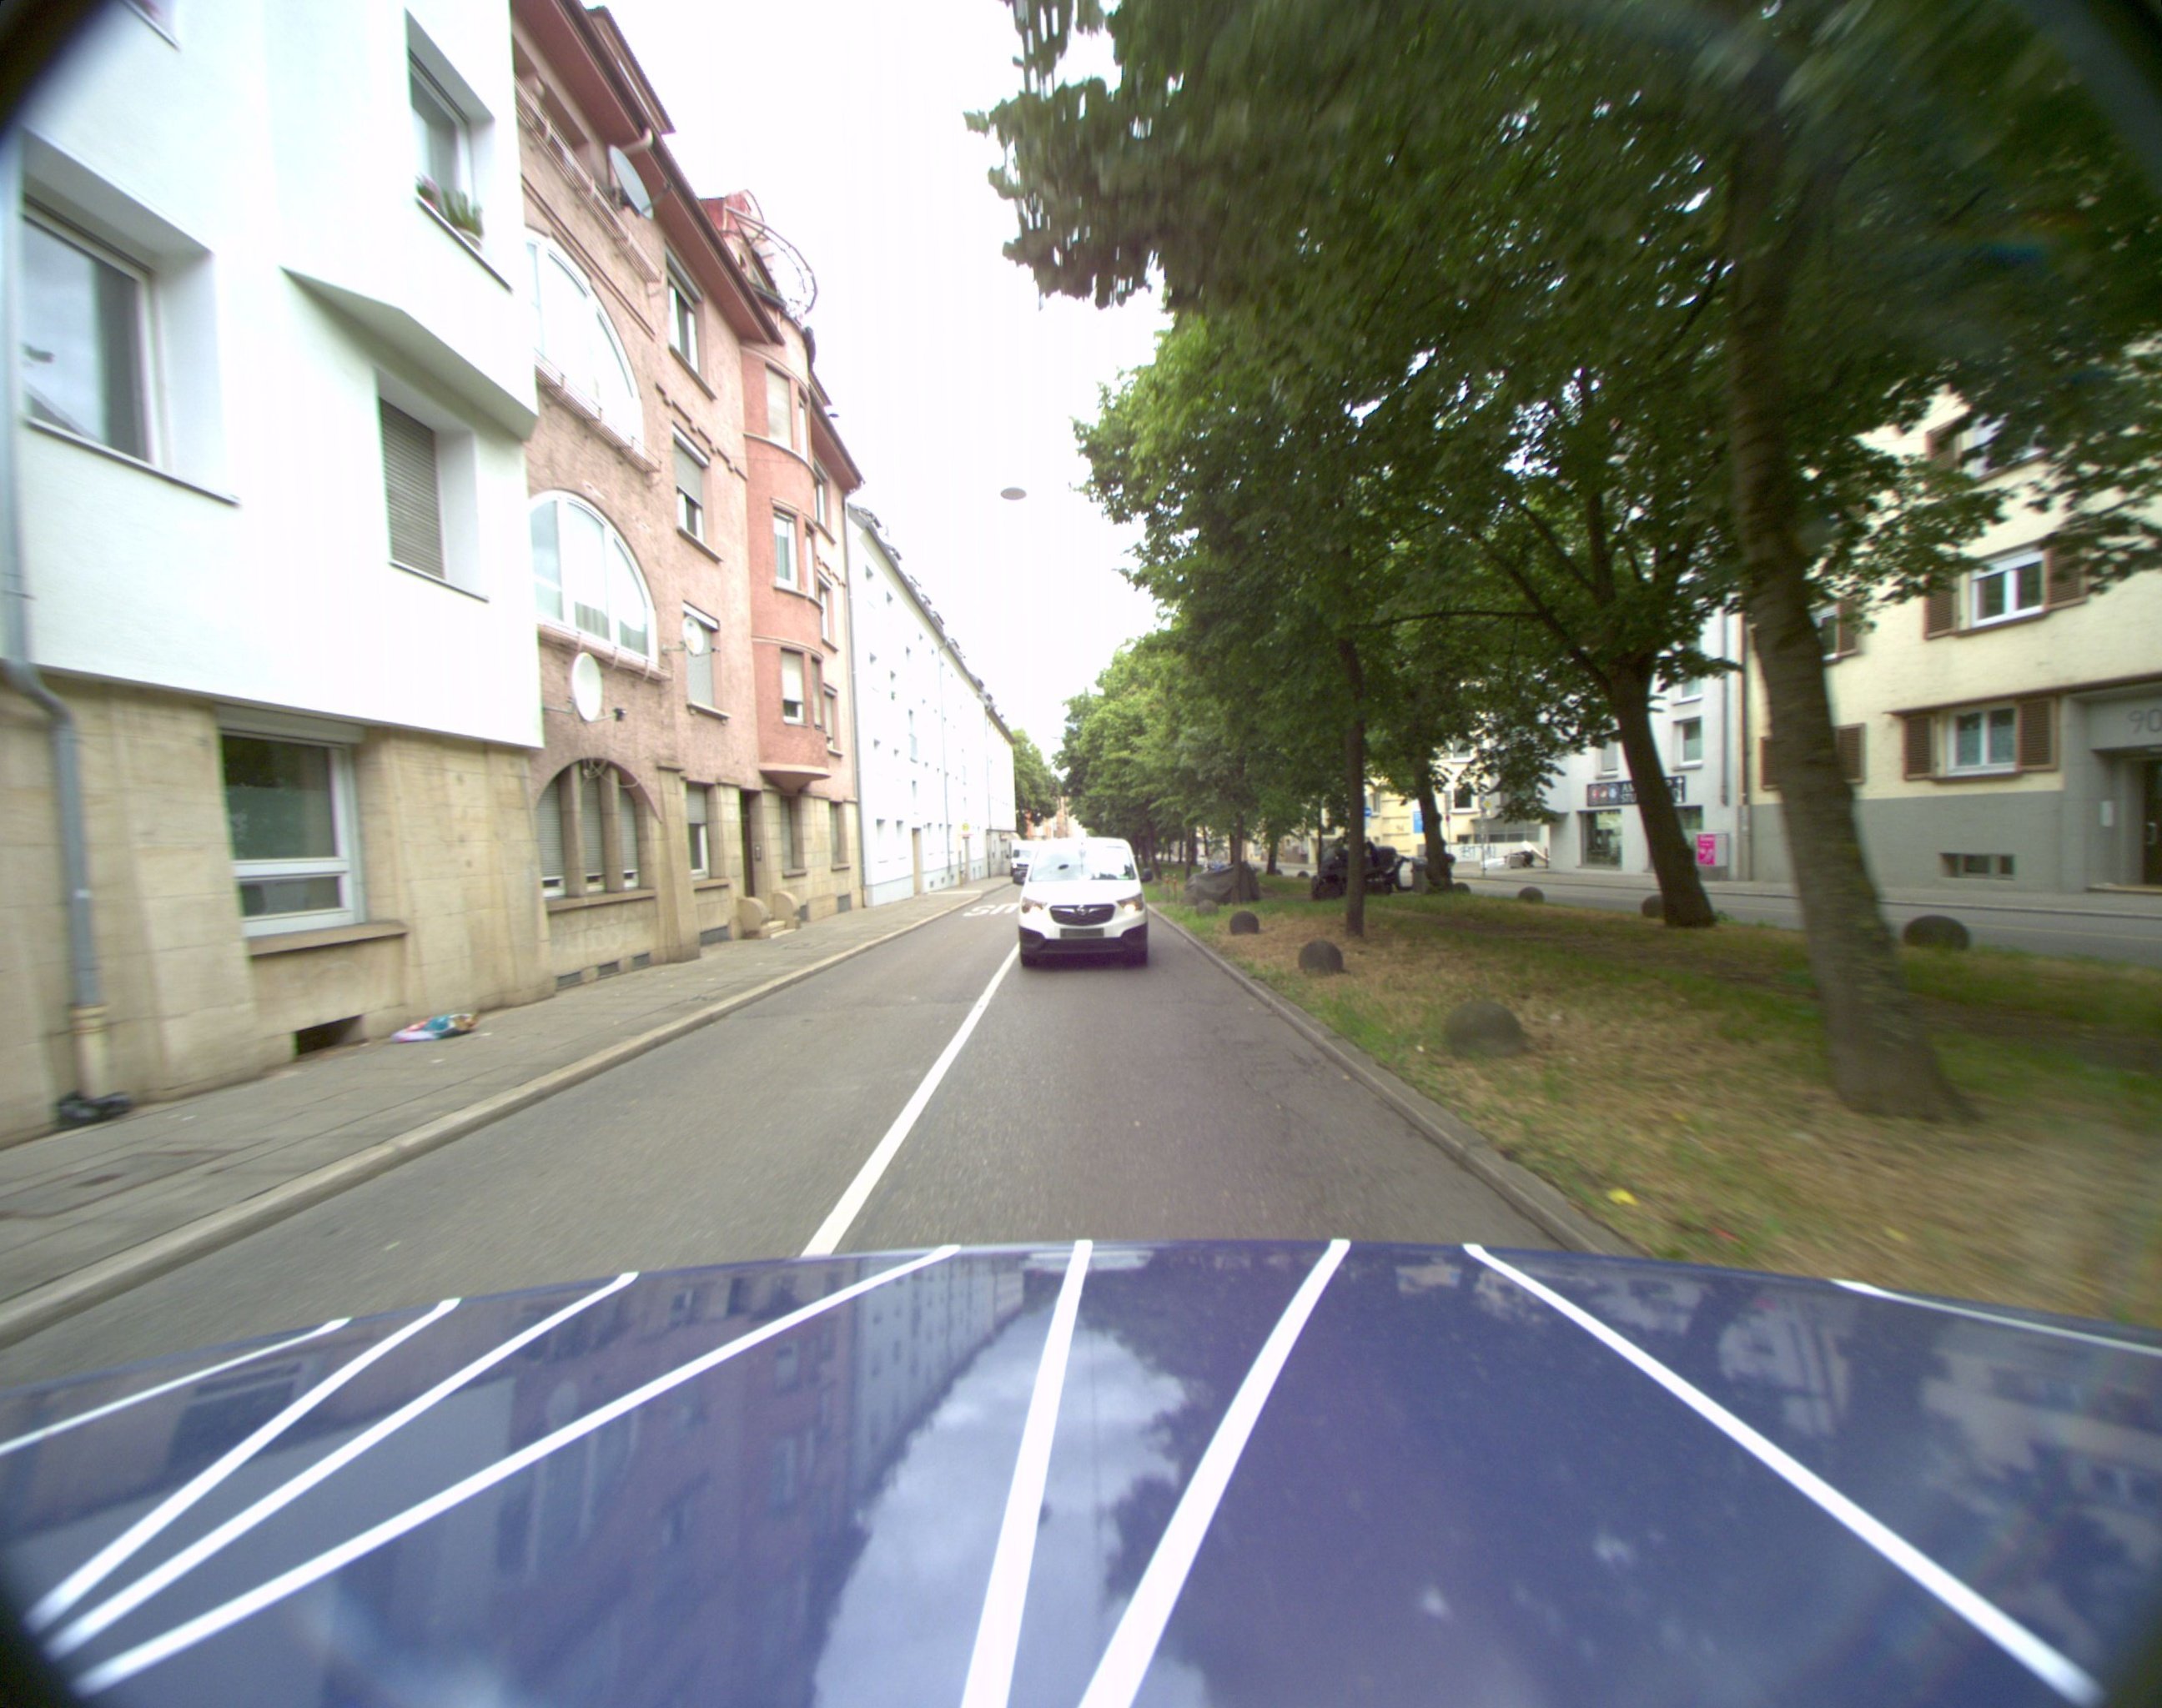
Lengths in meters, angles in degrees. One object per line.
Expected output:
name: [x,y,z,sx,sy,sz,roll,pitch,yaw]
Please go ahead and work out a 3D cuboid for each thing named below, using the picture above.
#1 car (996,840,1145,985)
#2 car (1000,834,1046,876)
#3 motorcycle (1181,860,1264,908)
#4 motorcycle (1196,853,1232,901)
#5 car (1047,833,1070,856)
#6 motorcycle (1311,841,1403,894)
car: [0.041,0.726,12.231,1.853,1.814,5.021,-2,1,4]
car: [-4.457,-0.012,59.744,3.026,3.045,7.166,-2,1,-1]
motorcycle: [3.677,0.774,19.850,2.041,1.126,0.454,-3,3,1]
motorcycle: [3.899,0.647,22.389,0.454,1.298,1.627,-4,3,-11]
car: [-3.126,-1.306,106.097,3.026,3.045,7.166,-2,1,-1]
motorcycle: [8.314,0.394,22.981,2.424,1.475,0.963,-1,3,1]
